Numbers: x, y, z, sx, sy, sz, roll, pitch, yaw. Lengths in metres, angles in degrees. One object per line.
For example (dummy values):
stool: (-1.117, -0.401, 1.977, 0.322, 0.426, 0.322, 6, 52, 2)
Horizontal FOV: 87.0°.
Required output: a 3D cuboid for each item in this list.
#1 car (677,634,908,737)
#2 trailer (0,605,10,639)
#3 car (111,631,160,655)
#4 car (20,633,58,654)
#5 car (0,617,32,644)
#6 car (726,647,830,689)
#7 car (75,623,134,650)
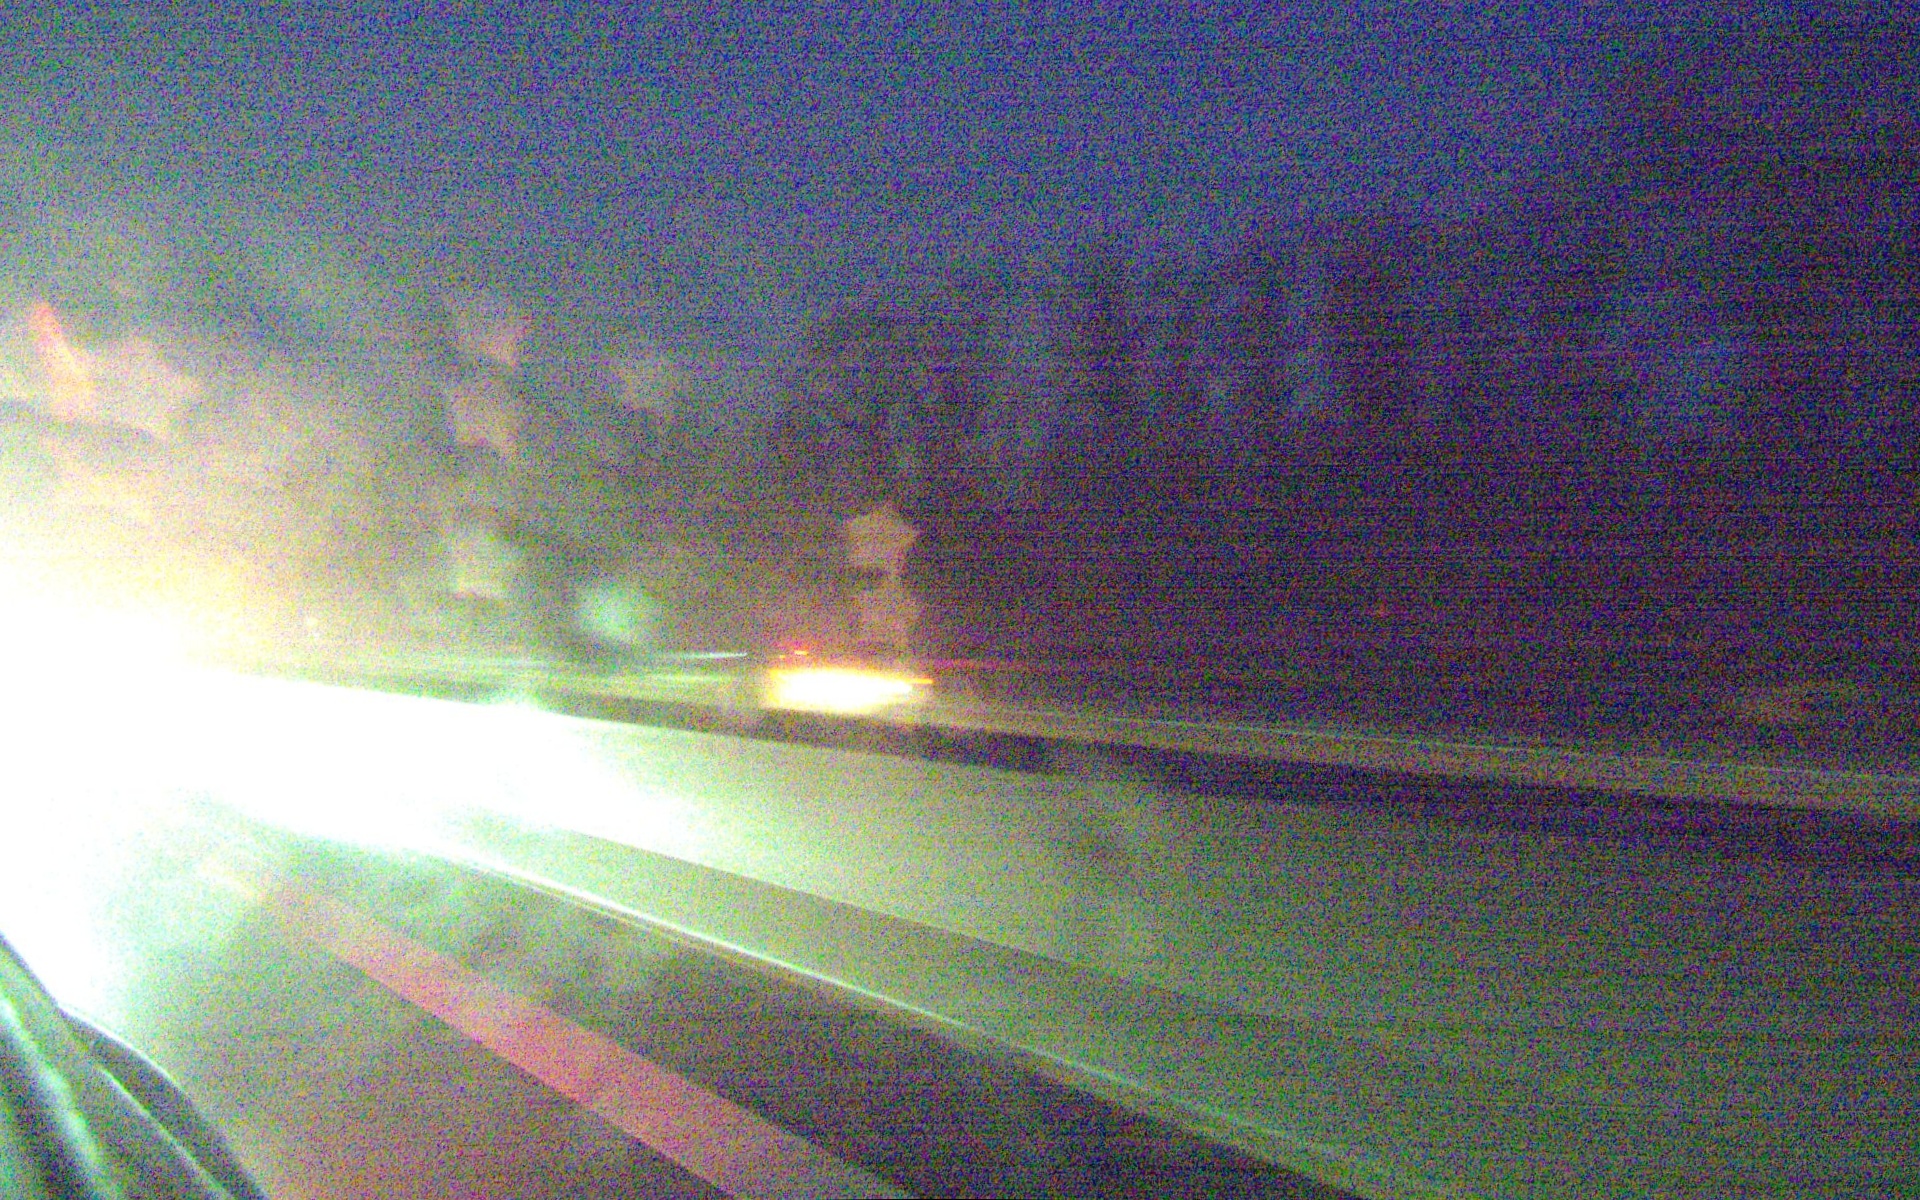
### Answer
car: (-3.248, 1.495, 19.047, 4.511, 1.593, 1.842, -1, 0, 41)
trailer: (-130.072, 3.138, 135.315, 15.708, 4.337, 2.856, -3, -1, 41)
car: (-58.546, 3.052, 71.831, 4.498, 1.629, 1.853, -2, -3, 40)
car: (-72.562, 3.417, 79.714, 5.125, 1.594, 1.633, -2, -1, 41)
car: (-59.379, 1.929, 62.884, 4.414, 1.629, 1.973, -2, -3, 40)
car: (-7.629, 2.791, 42.326, 4.347, 1.482, 1.846, -1, 0, 37)
car: (-53.018, 2.268, 62.706, 4.742, 1.629, 1.973, -2, -3, 40)
